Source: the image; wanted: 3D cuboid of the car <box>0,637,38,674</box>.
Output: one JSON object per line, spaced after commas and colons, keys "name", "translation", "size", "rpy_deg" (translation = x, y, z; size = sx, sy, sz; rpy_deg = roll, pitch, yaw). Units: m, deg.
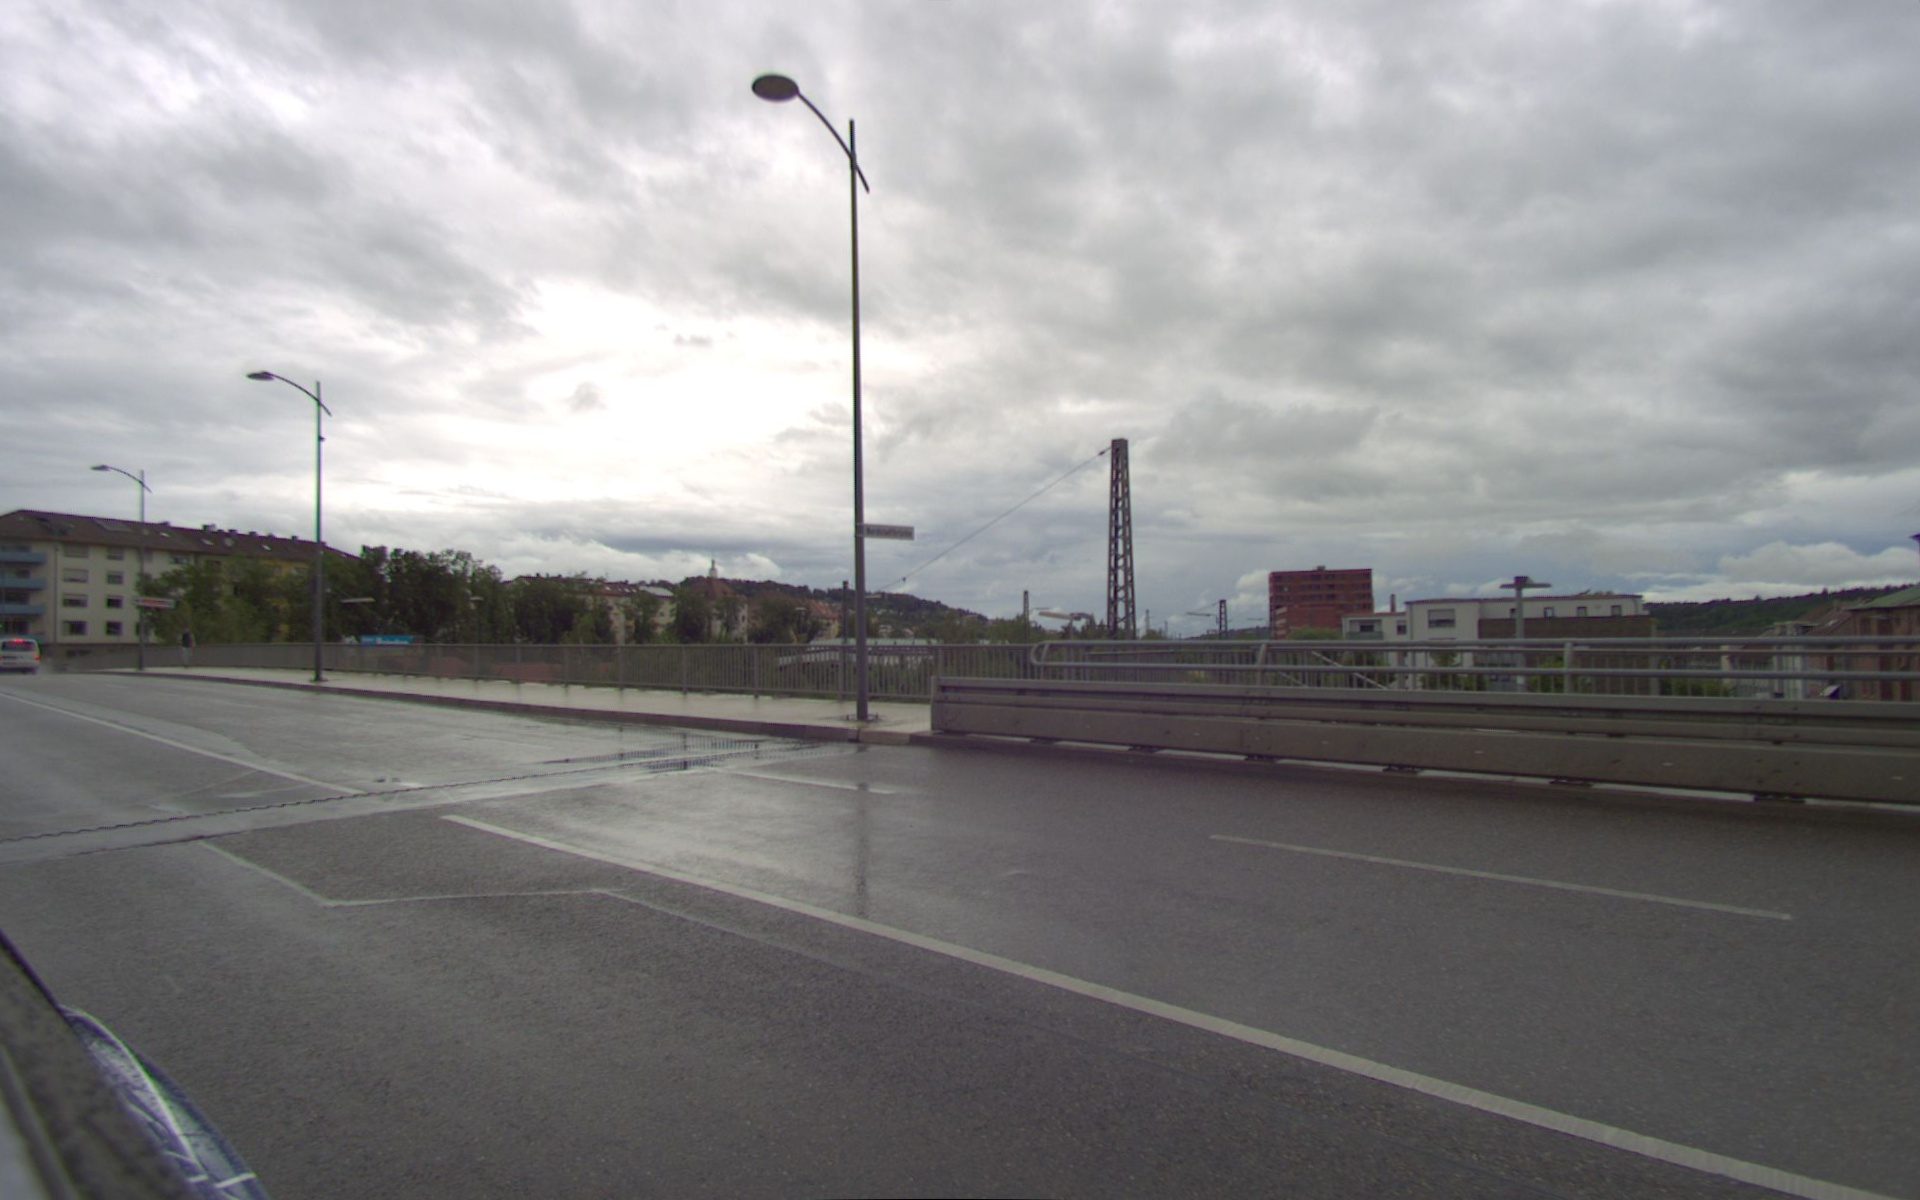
{"name": "car", "translation": [-51.663, 3.051, 54.736], "size": [4.952, 1.836, 1.868], "rpy_deg": [-5, -3, 39]}
